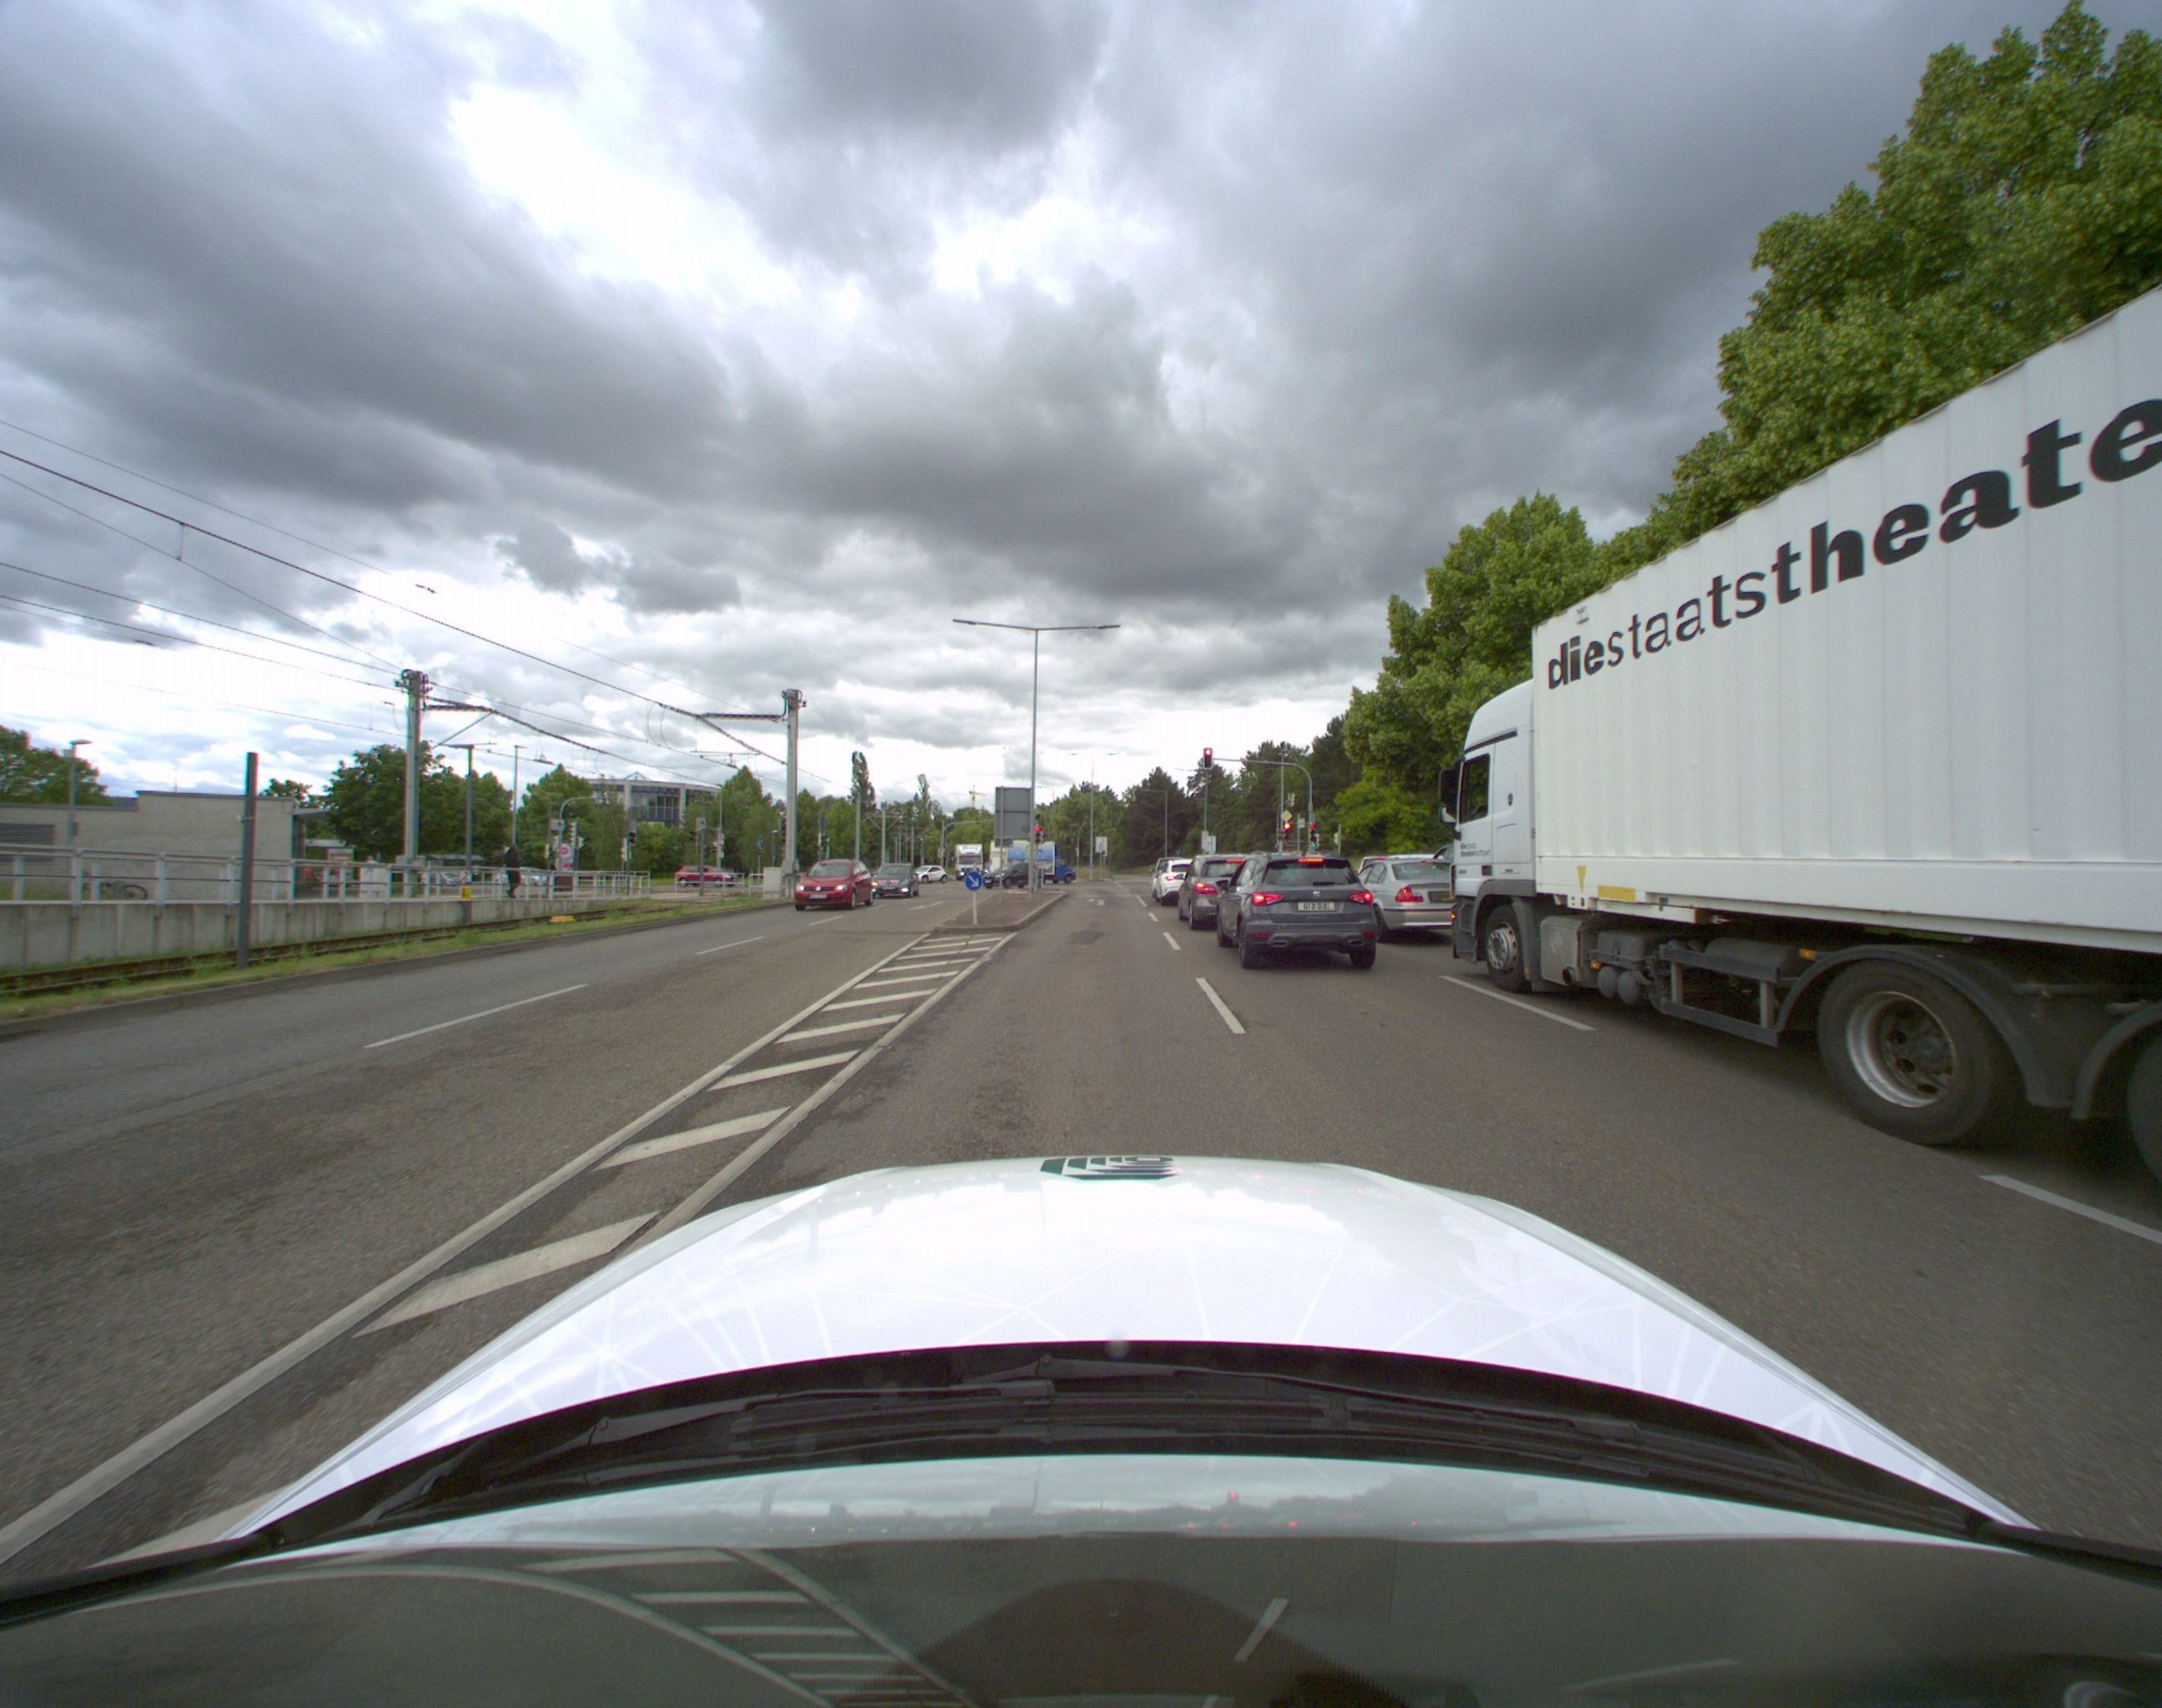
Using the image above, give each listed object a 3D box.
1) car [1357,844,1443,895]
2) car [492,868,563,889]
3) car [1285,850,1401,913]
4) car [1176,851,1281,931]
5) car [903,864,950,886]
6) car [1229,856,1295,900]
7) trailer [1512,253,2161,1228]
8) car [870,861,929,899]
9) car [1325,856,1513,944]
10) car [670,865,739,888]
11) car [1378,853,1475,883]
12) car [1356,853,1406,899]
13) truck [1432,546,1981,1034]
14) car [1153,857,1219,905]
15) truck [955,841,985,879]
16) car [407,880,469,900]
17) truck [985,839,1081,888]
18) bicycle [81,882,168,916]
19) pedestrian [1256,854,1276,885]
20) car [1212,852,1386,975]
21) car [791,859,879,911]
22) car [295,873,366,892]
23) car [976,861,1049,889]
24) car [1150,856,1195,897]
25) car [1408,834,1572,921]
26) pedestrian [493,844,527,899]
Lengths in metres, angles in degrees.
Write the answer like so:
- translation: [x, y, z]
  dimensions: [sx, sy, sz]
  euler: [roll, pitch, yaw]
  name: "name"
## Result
- translation: [9.862, 0.447, 25.413]
  dimensions: [1.507, 1.437, 3.646]
  euler: [-1, 0, 5]
  name: "car"
- translation: [-37.609, 1.683, 55.348]
  dimensions: [3.963, 1.377, 1.522]
  euler: [-1, -1, 9]
  name: "car"
- translation: [6.636, 0.679, 21.079]
  dimensions: [1.817, 1.435, 4.215]
  euler: [-1, -1, 3]
  name: "car"
- translation: [3.049, 0.705, 17.633]
  dimensions: [1.791, 1.523, 4.192]
  euler: [-1, 0, 4]
  name: "car"
- translation: [-12.970, 1.736, 68.499]
  dimensions: [1.758, 1.507, 3.771]
  euler: [0, 3, 30]
  name: "car"
- translation: [6.347, 0.820, 28.910]
  dimensions: [1.540, 1.404, 4.001]
  euler: [-1, -1, 1]
  name: "car"
- translation: [5.452, -0.445, 4.282]
  dimensions: [2.555, 3.705, 7.770]
  euler: [-1, 0, 3]
  name: "trailer"
- translation: [-7.687, 1.047, 34.888]
  dimensions: [1.687, 1.439, 4.542]
  euler: [-1, 0, -2]
  name: "car"
- translation: [5.913, 0.731, 14.815]
  dimensions: [1.805, 1.354, 4.119]
  euler: [-1, 0, 2]
  name: "car"
- translation: [-26.123, 1.543, 56.597]
  dimensions: [3.968, 1.517, 1.734]
  euler: [-1, -2, 5]
  name: "car"
- translation: [22.142, 0.866, 52.321]
  dimensions: [5.398, 1.815, 2.001]
  euler: [-1, 0, 2]
  name: "car"
- translation: [11.634, 0.790, 31.431]
  dimensions: [1.687, 1.638, 4.266]
  euler: [1, 0, 22]
  name: "car"
- translation: [5.683, -0.497, 8.314]
  dimensions: [2.560, 3.705, 4.109]
  euler: [-1, 0, 3]
  name: "truck"
- translation: [3.333, 0.834, 26.506]
  dimensions: [1.715, 1.422, 4.358]
  euler: [-1, -1, 2]
  name: "car"
- translation: [-11.499, 0.622, 83.431]
  dimensions: [2.660, 3.649, 9.468]
  euler: [0, -1, -10]
  name: "truck"
- translation: [-44.391, 2.491, 56.248]
  dimensions: [3.264, 1.310, 1.556]
  euler: [-1, -1, 8]
  name: "car"
- translation: [-3.680, 0.645, 63.485]
  dimensions: [7.297, 3.598, 2.662]
  euler: [-1, 1, -37]
  name: "truck"
- translation: [-31.622, 1.475, 26.958]
  dimensions: [1.807, 1.015, 0.406]
  euler: [0, -1, -41]
  name: "bicycle"
- translation: [9.326, 0.783, 41.021]
  dimensions: [0.861, 1.560, 0.518]
  euler: [-1, 0, 0]
  name: "pedestrian"
- translation: [2.994, 0.741, 11.996]
  dimensions: [1.691, 1.486, 4.004]
  euler: [-1, 0, 3]
  name: "car"
- translation: [-7.797, 0.928, 26.159]
  dimensions: [1.698, 1.488, 4.083]
  euler: [-1, 0, -2]
  name: "car"
- translation: [-53.205, 2.008, 57.741]
  dimensions: [3.715, 1.310, 1.727]
  euler: [-1, -1, 8]
  name: "car"
- translation: [-3.890, 1.158, 46.671]
  dimensions: [3.959, 1.496, 1.580]
  euler: [-1, 0, -39]
  name: "car"
- translation: [3.541, 0.854, 31.822]
  dimensions: [1.529, 1.504, 2.671]
  euler: [-1, -1, 2]
  name: "car"
- translation: [9.452, 0.485, 19.292]
  dimensions: [1.817, 1.803, 4.509]
  euler: [-1, 0, 3]
  name: "car"
- translation: [-19.293, 0.582, 27.531]
  dimensions: [0.570, 1.827, 0.793]
  euler: [0, -1, -2]
  name: "pedestrian"
